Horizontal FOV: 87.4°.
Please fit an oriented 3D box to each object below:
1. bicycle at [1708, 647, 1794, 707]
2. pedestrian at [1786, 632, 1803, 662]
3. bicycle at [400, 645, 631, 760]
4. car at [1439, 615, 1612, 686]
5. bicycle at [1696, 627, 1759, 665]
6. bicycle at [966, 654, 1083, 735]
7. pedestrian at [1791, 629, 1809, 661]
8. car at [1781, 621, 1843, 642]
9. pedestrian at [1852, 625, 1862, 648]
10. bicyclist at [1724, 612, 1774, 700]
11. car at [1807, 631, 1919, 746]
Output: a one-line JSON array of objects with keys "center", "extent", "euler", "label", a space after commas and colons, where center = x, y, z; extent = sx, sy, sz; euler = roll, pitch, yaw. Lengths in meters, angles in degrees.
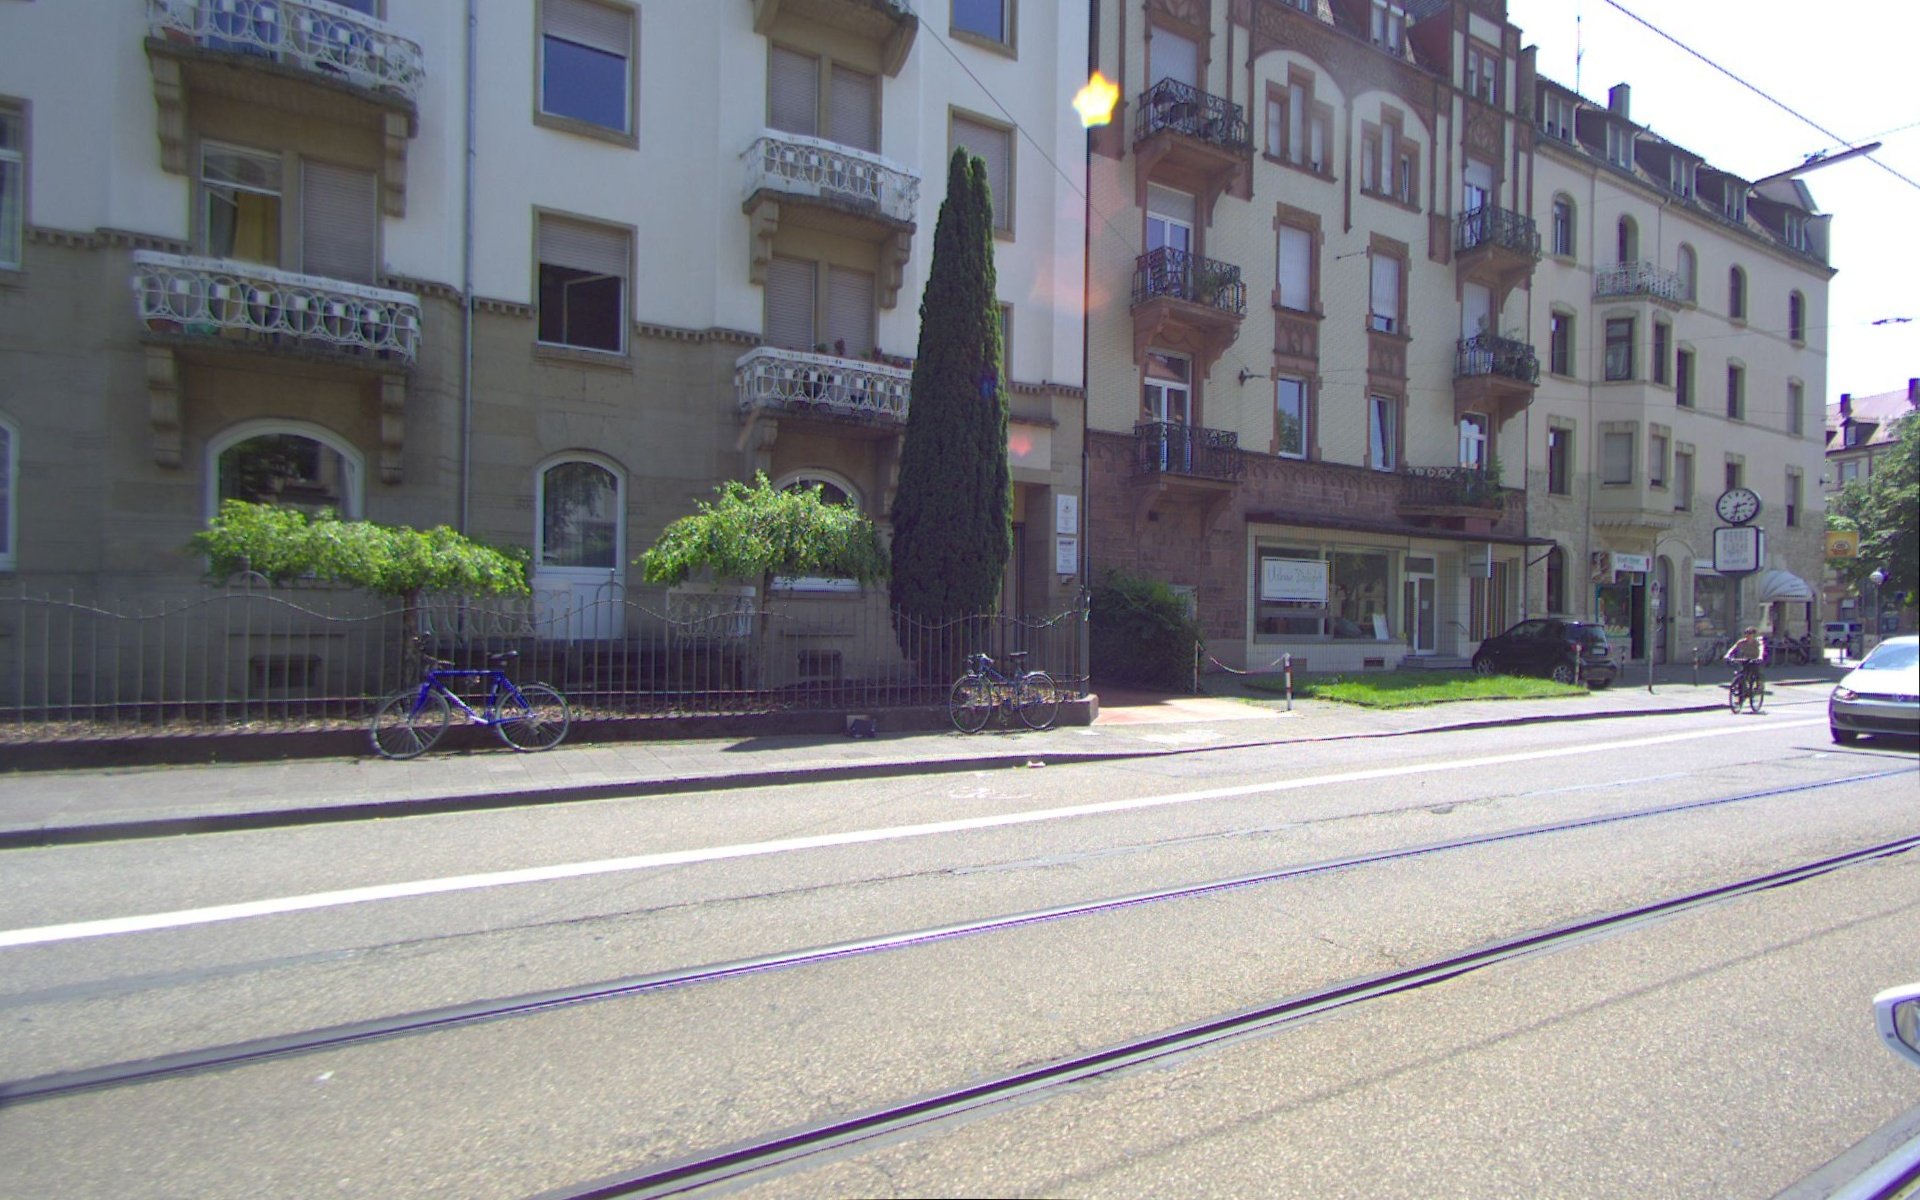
[{"center": [15.558, 1.490, 19.740], "extent": [2.162, 1.089, 0.641], "euler": [1, -1, -32], "label": "bicycle"}, {"center": [30.426, 1.714, 36.632], "extent": [0.401, 1.103, 0.352], "euler": [2, 0, -34], "label": "pedestrian"}, {"center": [-4.142, 0.924, 9.435], "extent": [1.932, 0.961, 0.459], "euler": [1, 0, -32], "label": "bicycle"}, {"center": [13.476, 1.155, 24.115], "extent": [1.510, 1.491, 3.341], "euler": [1, 0, -27], "label": "car"}, {"center": [26.039, 1.563, 34.074], "extent": [2.043, 1.241, 0.454], "euler": [2, 0, -12], "label": "bicycle"}, {"center": [0.822, 1.156, 12.536], "extent": [1.596, 0.929, 0.251], "euler": [1, 0, -32], "label": "bicycle"}, {"center": [31.185, 1.669, 37.274], "extent": [0.401, 1.164, 0.402], "euler": [2, 0, -34], "label": "pedestrian"}, {"center": [67.633, 2.481, 79.814], "extent": [1.513, 1.461, 3.738], "euler": [2, 0, -6], "label": "car"}, {"center": [69.685, 2.824, 78.064], "extent": [0.500, 1.791, 0.527], "euler": [2, 0, 37], "label": "pedestrian"}, {"center": [15.443, 1.086, 19.660], "extent": [0.573, 1.685, 0.607], "euler": [1, -1, -31], "label": "bicyclist"}, {"center": [13.354, 1.159, 13.736], "extent": [3.784, 1.431, 1.698], "euler": [2, -2, -33], "label": "car"}]
